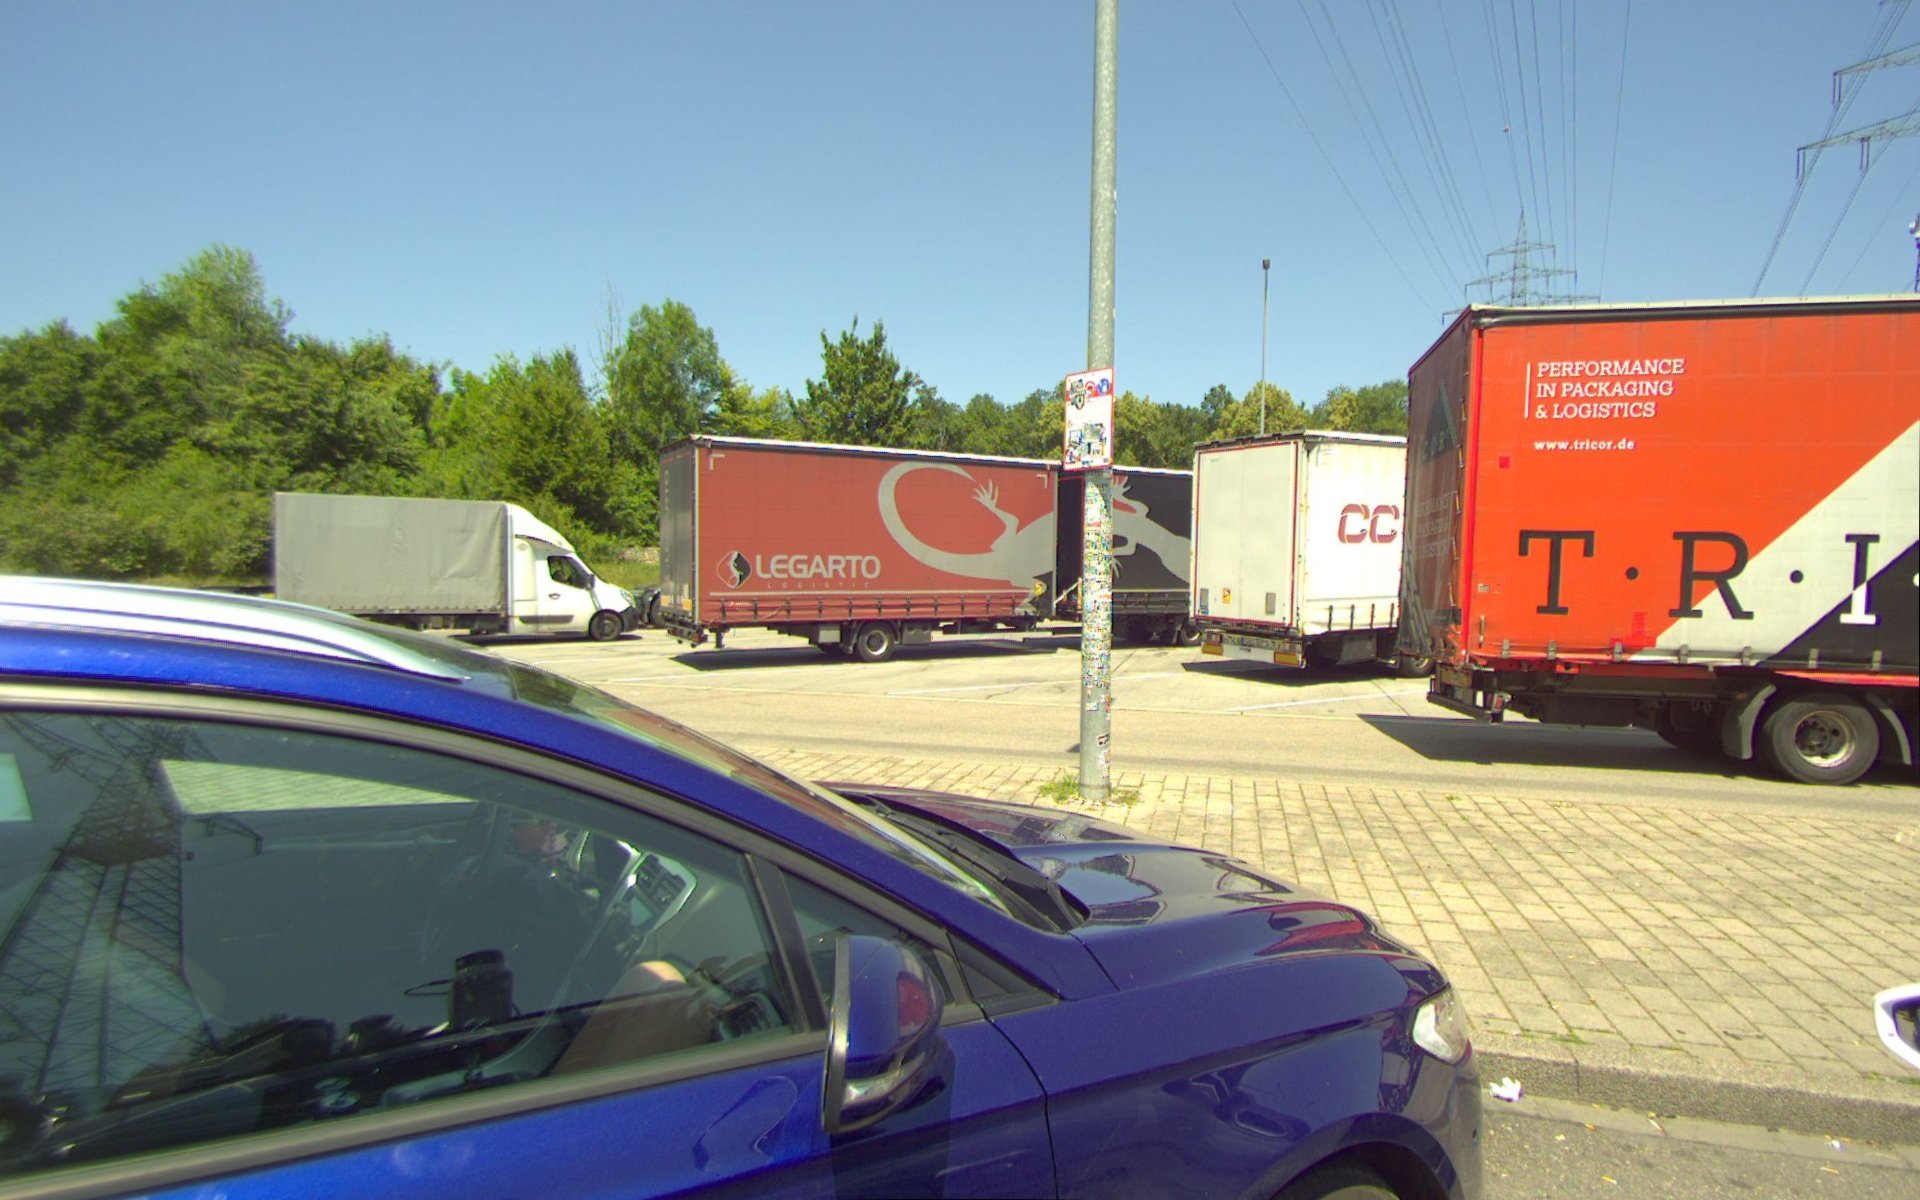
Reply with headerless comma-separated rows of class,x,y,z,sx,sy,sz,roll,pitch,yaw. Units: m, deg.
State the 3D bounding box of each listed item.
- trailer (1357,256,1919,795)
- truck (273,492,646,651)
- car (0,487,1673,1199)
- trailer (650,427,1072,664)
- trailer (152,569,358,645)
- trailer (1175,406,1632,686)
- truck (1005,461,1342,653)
trailer,8.478,-0.583,9.324,8.509,4.315,2.844,1,0,13
truck,-11.128,-0.596,22.900,7.265,3.170,2.352,0,1,-30
car,-1.030,0.653,1.452,4.419,1.485,1.765,0,1,-32
trailer,-1.805,-0.911,20.298,8.158,4.027,2.651,0,1,-30
trailer,-16.524,0.156,23.780,3.856,1.684,1.464,0,1,-30
trailer,8.697,-0.824,19.091,9.614,4.321,2.733,0,1,-29
truck,5.388,-0.902,24.568,8.534,4.073,2.624,0,1,-30
